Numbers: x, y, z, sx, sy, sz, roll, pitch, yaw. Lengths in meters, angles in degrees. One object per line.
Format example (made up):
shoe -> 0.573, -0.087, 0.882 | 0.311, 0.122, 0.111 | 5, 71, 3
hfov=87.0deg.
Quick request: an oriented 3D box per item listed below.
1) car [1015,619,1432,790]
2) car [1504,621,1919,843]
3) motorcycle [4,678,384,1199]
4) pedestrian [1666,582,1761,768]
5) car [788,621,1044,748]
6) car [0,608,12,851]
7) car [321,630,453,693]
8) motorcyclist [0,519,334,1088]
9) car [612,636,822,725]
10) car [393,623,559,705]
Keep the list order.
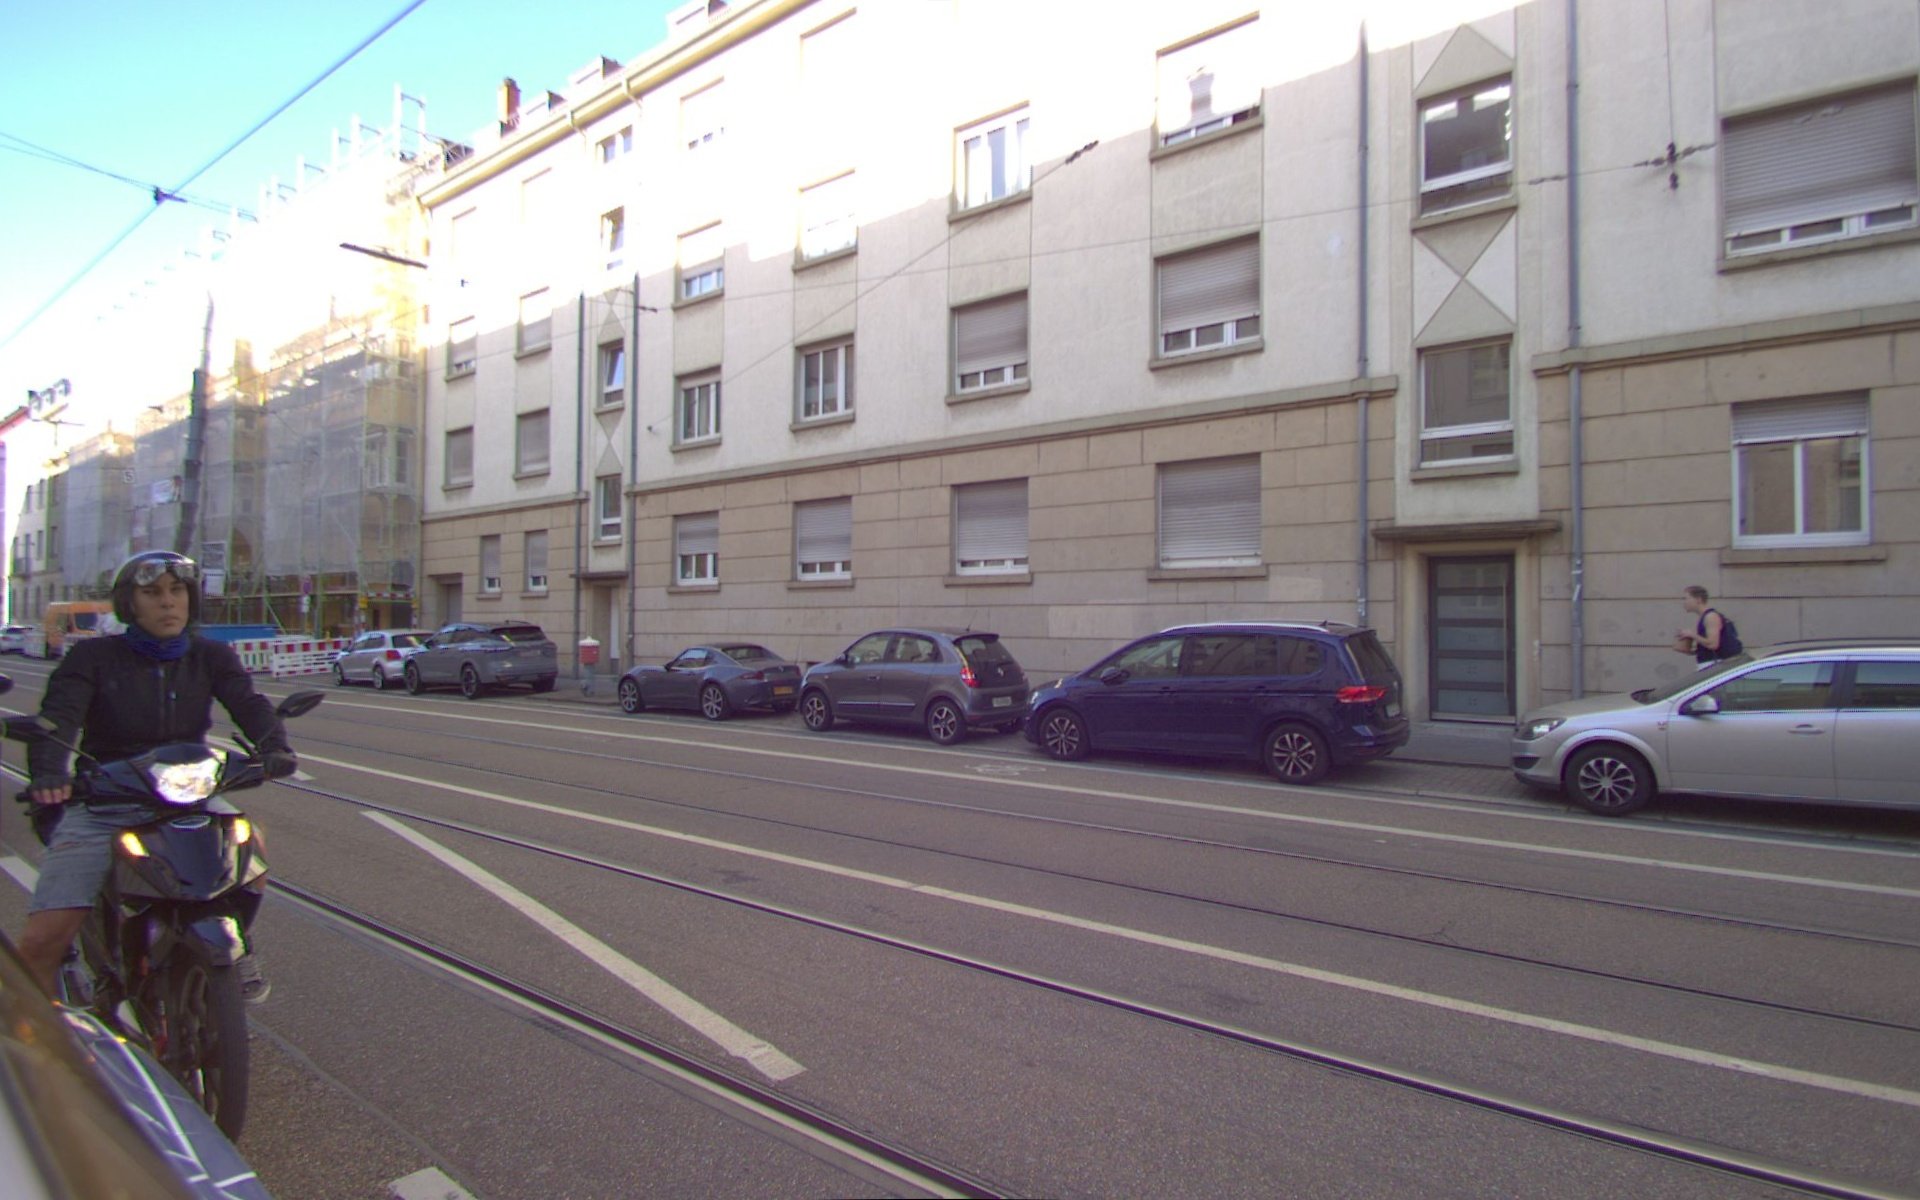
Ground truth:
car -> 2.944, 1.036, 11.724 | 4.285, 1.597, 1.887 | -1, 0, 37
car -> 7.208, 0.993, 8.534 | 4.358, 1.571, 1.975 | -1, 0, 38
motorcycle -> -2.419, 0.910, 3.083 | 1.980, 1.228, 0.532 | -1, 0, 41
pedestrian -> 7.846, 0.747, 10.535 | 0.733, 1.846, 0.592 | -1, 0, 41
car -> -0.691, 1.117, 14.707 | 3.493, 1.584, 1.650 | -1, 0, 38
car -> -8.029, 0.827, 7.000 | 3.997, 1.515, 1.670 | -2, -3, 40
car -> -14.457, 1.494, 25.477 | 3.639, 1.402, 1.617 | -1, 0, 37
motorcyclist -> -2.553, 0.542, 3.179 | 0.598, 1.516, 0.851 | -1, 0, 41
car -> -4.244, 1.317, 17.529 | 3.483, 1.286, 1.730 | -1, 0, 37
car -> -10.882, 1.352, 22.647 | 4.108, 1.603, 1.691 | -1, 0, 38
